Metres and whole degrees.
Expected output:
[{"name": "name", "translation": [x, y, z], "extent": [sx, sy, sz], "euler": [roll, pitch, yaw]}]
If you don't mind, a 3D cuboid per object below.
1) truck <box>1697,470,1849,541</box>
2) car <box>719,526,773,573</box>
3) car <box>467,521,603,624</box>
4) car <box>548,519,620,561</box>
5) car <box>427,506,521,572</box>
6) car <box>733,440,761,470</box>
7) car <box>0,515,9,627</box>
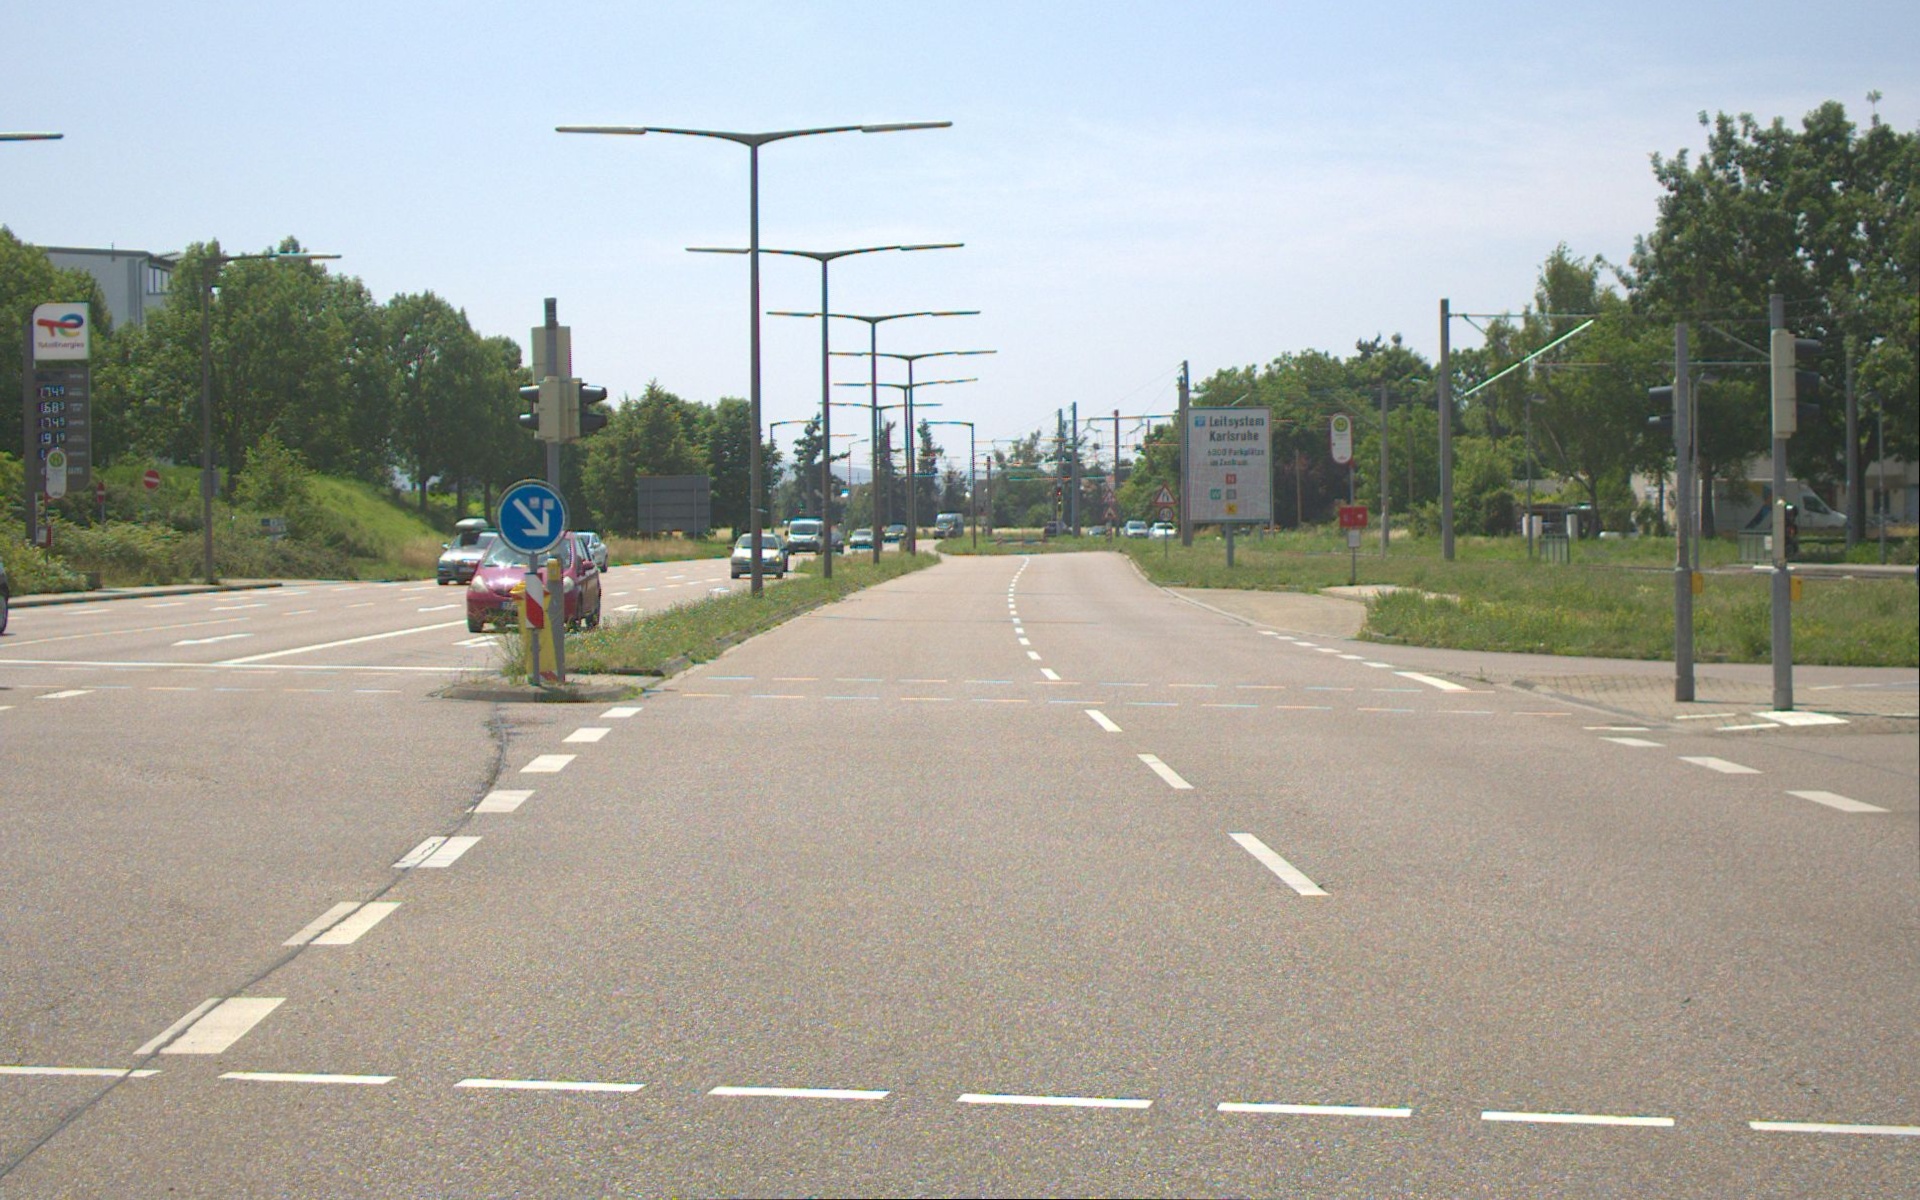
[{"name": "truck", "translation": [35.046, -4.051, 148.271], "extent": [5.839, 2.833, 2.321], "euler": [-2, 1, -7]}, {"name": "car", "translation": [-6.741, -1.609, 108.731], "extent": [1.560, 1.418, 3.854], "euler": [0, 2, -1]}, {"name": "car", "translation": [-6.431, -0.446, 52.321], "extent": [1.658, 1.485, 4.001], "euler": [0, 1, -1]}, {"name": "car", "translation": [-13.407, -2.156, 122.729], "extent": [1.823, 1.444, 3.827], "euler": [0, 1, 5]}, {"name": "car", "translation": [-13.257, -1.686, 93.987], "extent": [1.964, 1.744, 5.023], "euler": [0, 1, -1]}, {"name": "car", "translation": [-15.495, -10.503, 249.653], "extent": [1.993, 2.007, 4.001], "euler": [1, 1, -4]}, {"name": "car", "translation": [-14.040, -0.362, 45.875], "extent": [1.658, 1.534, 4.001], "euler": [0, 1, -1]}]
